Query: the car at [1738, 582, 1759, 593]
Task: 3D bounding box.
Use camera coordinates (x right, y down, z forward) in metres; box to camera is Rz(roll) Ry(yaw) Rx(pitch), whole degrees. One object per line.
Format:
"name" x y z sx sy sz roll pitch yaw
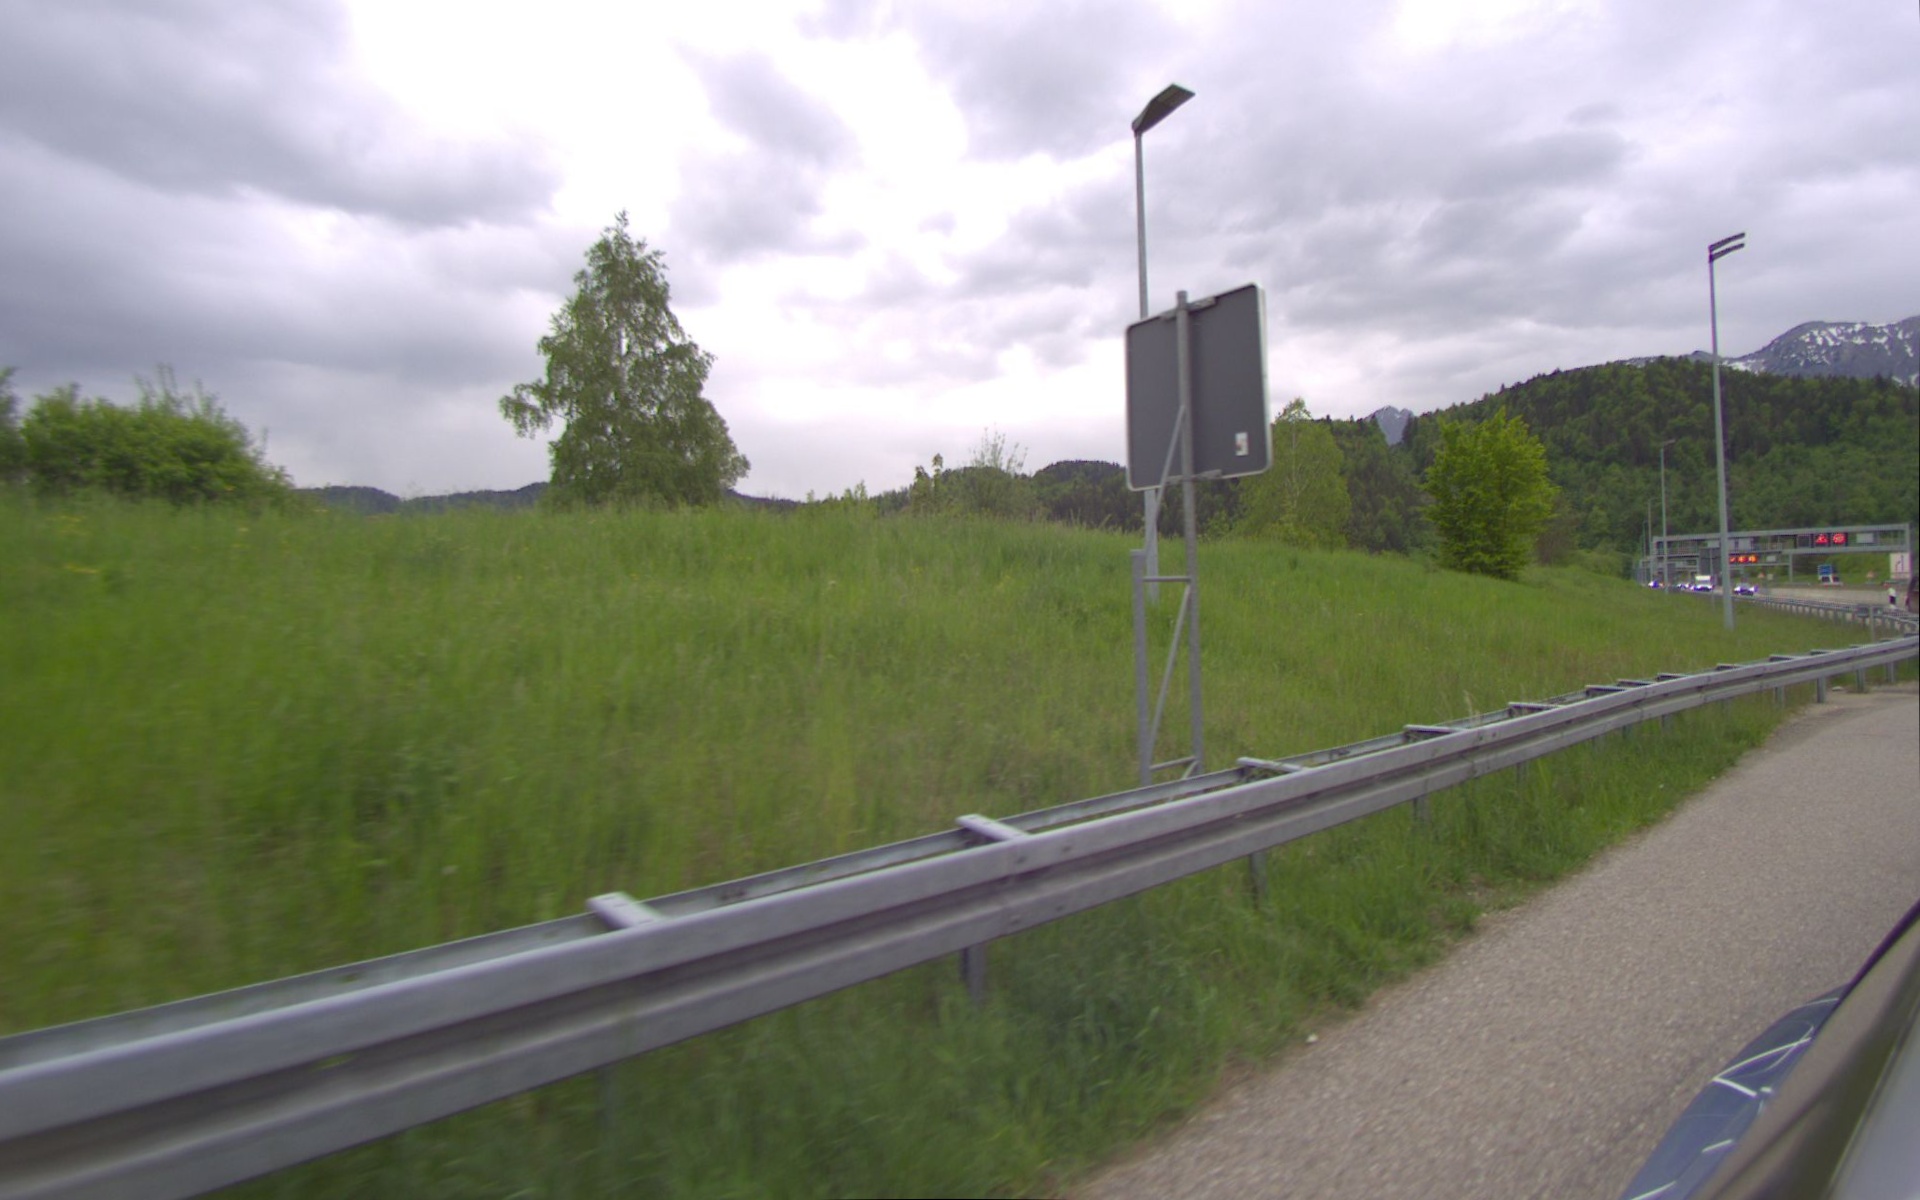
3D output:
"car" 92.227 -1.460 118.355 1.654 1.354 3.746 1 1 34

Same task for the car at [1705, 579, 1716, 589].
"car" 136.142 -2.943 183.541 1.623 1.719 3.448 0 1 38

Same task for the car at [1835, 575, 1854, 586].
"car" 133.286 -2.906 152.564 1.904 1.719 3.448 0 1 38
